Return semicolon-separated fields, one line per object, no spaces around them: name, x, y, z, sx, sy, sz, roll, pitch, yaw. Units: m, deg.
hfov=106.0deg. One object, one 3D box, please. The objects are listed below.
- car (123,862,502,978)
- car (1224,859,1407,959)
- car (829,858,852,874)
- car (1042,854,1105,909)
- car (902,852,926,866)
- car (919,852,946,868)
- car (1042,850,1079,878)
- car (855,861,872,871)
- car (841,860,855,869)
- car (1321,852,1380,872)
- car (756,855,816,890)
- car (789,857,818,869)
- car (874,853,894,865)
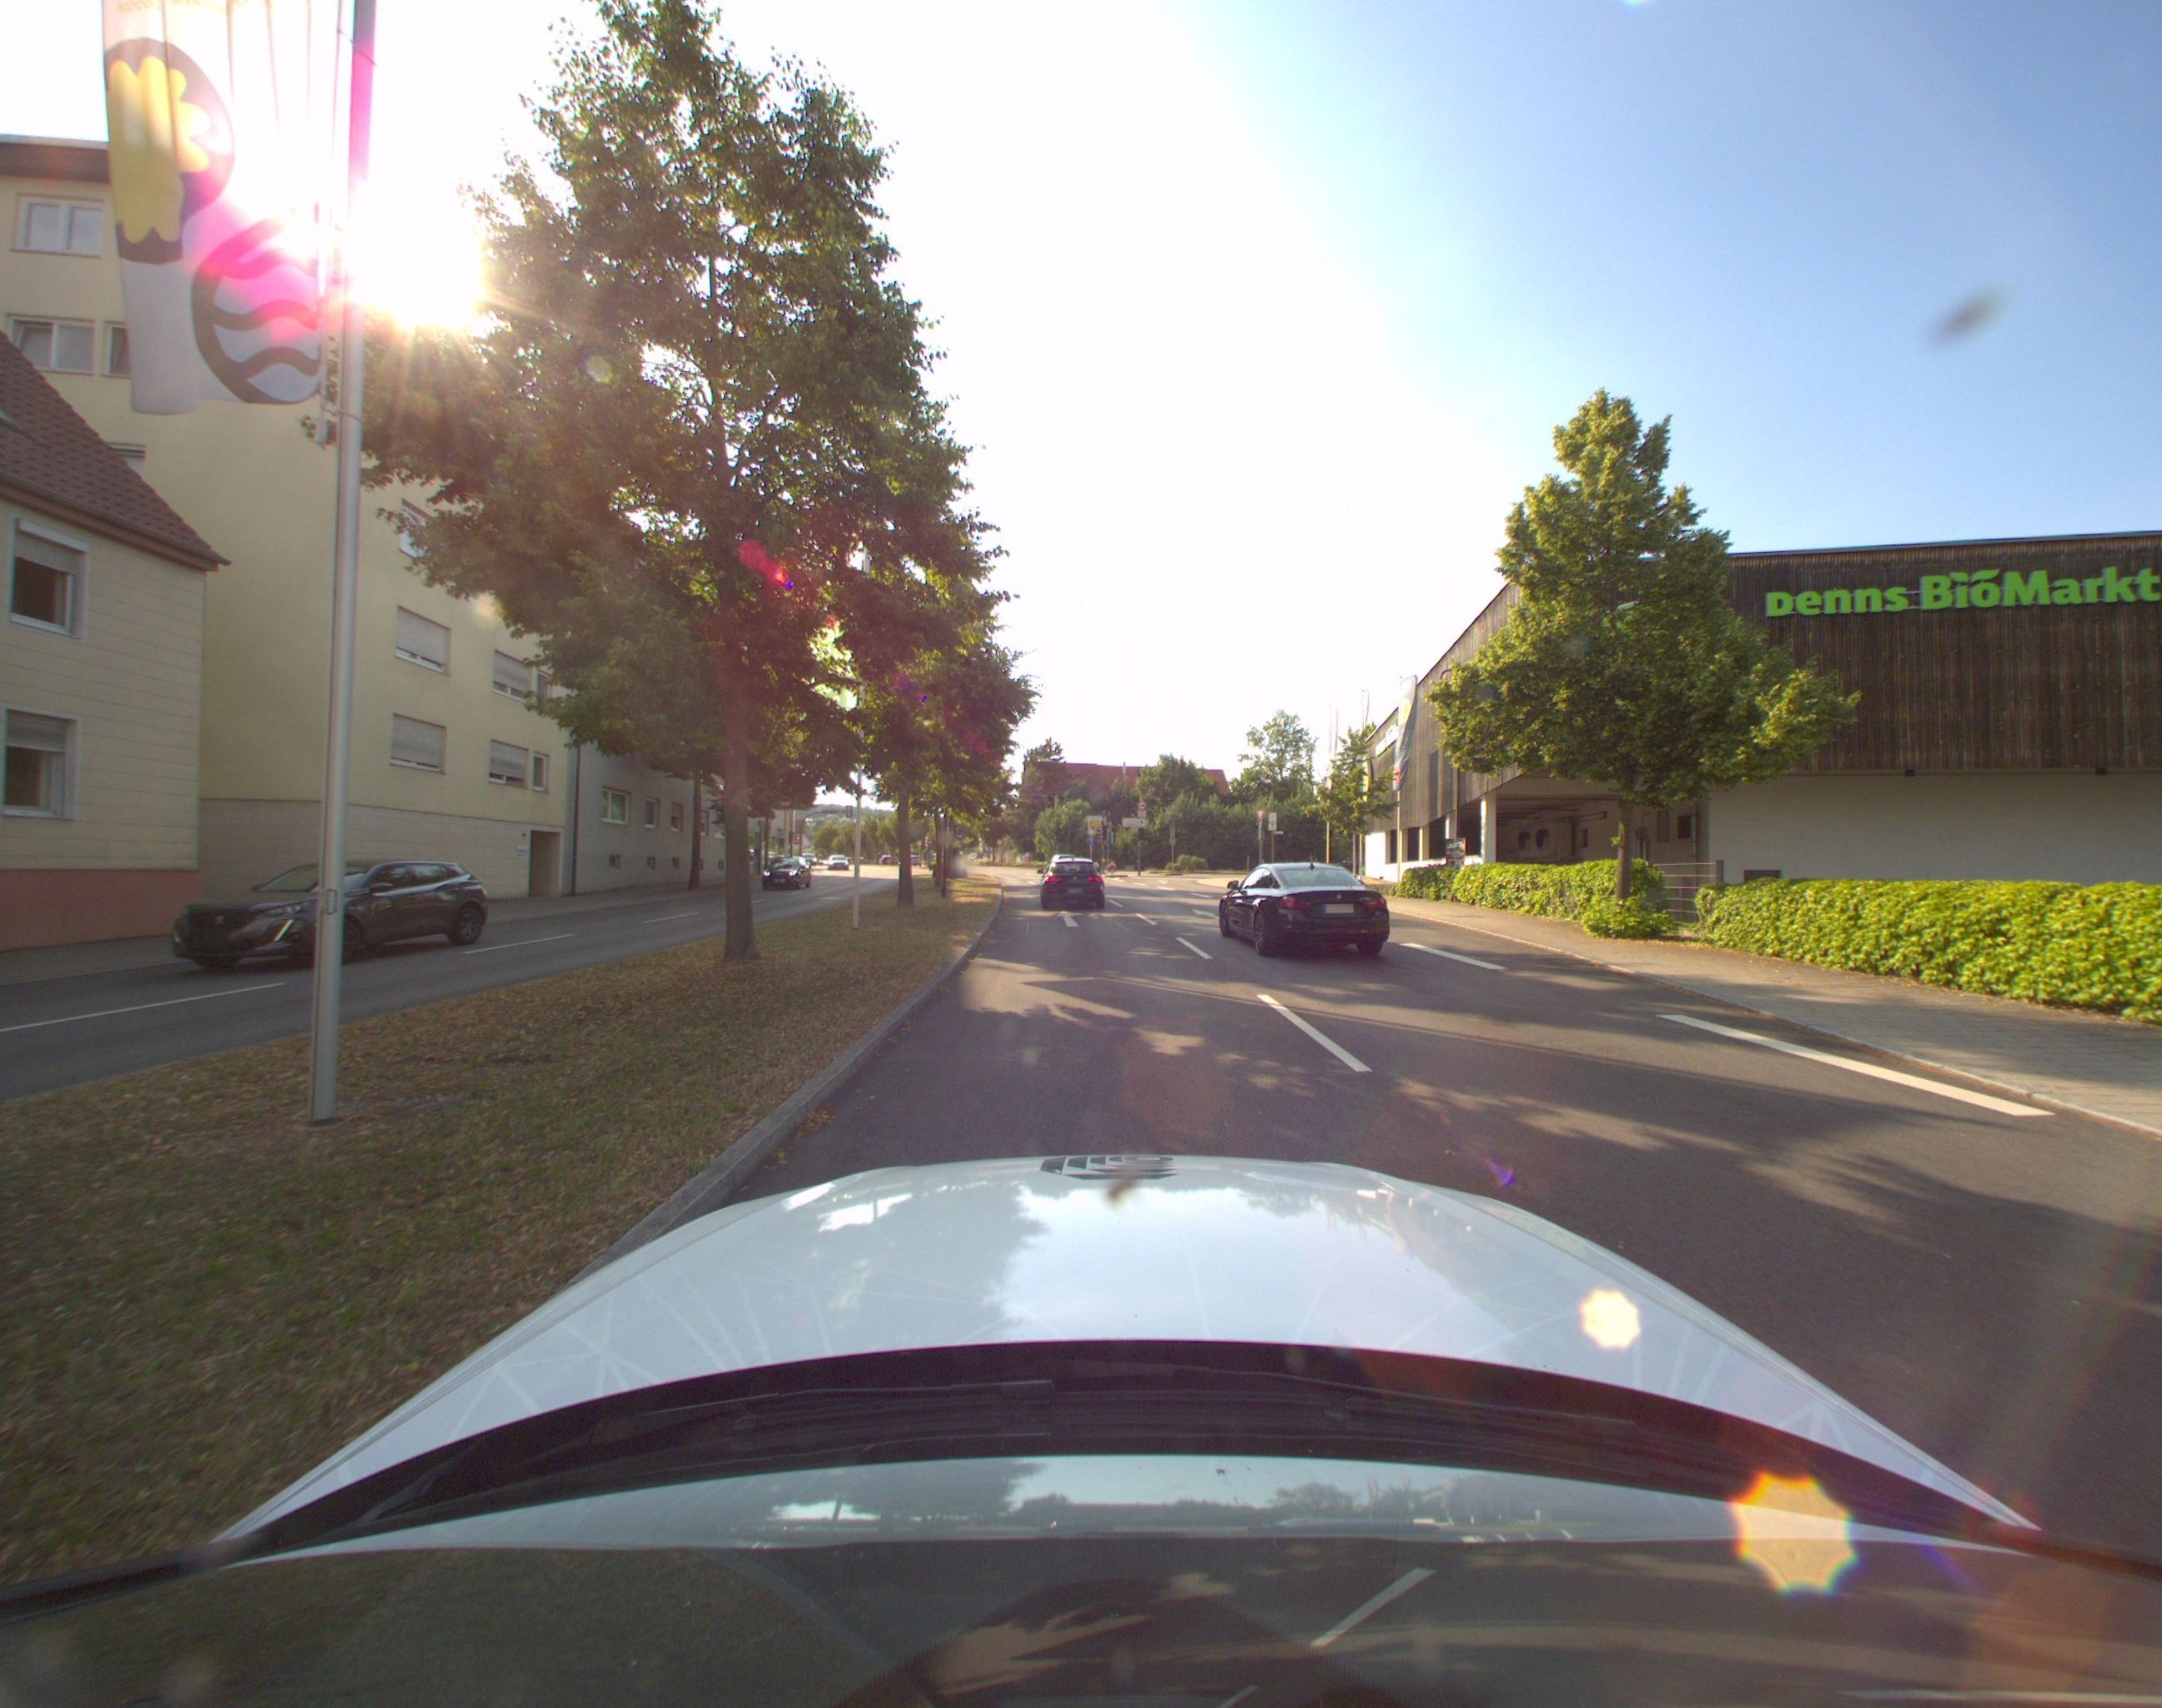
car;-11.641;0.889;12.877;1.934;1.486;4.321;-1;0;-2
car;3.616;0.778;13.423;1.913;1.364;4.355;-1;-1;2
car;-23.298;1.108;78.756;1.858;1.486;4.963;-1;0;-19
car;-0.241;0.762;24.291;1.716;1.490;4.350;0;0;-1
car;-22.709;0.674;110.731;2.227;1.769;4.418;0;0;-25
car;-17.668;0.727;96.683;2.227;1.769;4.418;0;0;-25
car;-1.397;0.647;53.940;1.924;1.769;4.440;0;0;-9
car;-38.889;2.134;145.364;2.227;1.859;4.418;0;0;-25
car;-46.601;2.005;162.769;2.227;1.769;4.418;0;0;-25
car;21.345;0.641;64.546;4.217;1.567;1.803;0;0;27
car;-13.559;0.826;37.634;1.603;1.486;3.778;-1;0;-4
car;-39.753;1.326;116.555;4.860;1.736;1.870;-1;-1;43
car;-30.851;0.795;127.281;2.227;1.769;4.418;0;0;-25
